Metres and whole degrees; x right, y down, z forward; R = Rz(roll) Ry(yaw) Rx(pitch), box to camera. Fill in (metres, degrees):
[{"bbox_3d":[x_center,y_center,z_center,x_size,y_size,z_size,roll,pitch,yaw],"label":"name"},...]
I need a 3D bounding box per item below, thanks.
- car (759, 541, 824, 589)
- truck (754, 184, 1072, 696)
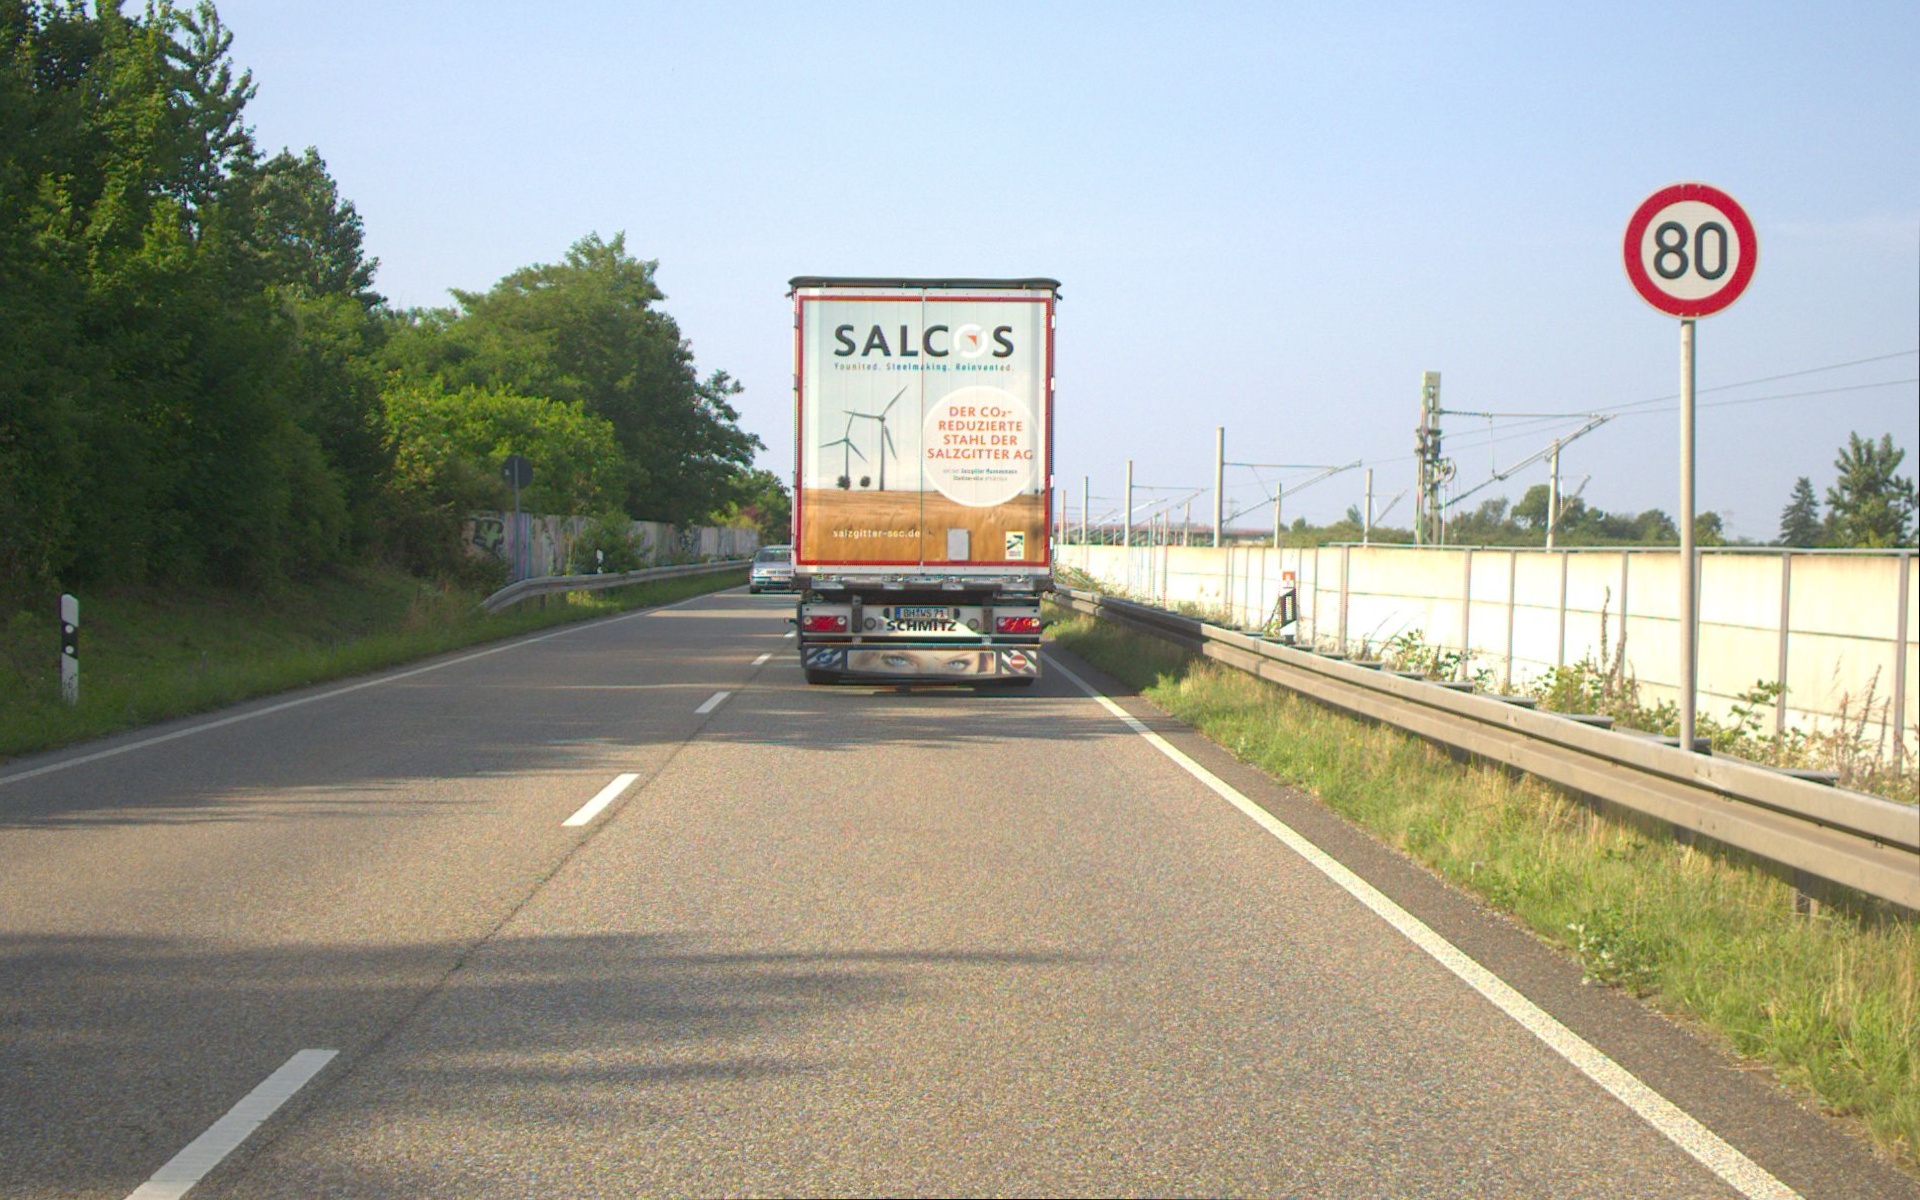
[{"bbox_3d":[-4.931,-1.030,100.988,1.719,1.389,4.361,0,1,0],"label":"car"},{"bbox_3d":[-0.685,-1.666,38.984,3.033,4.903,11.686,0,1,-2],"label":"truck"}]
